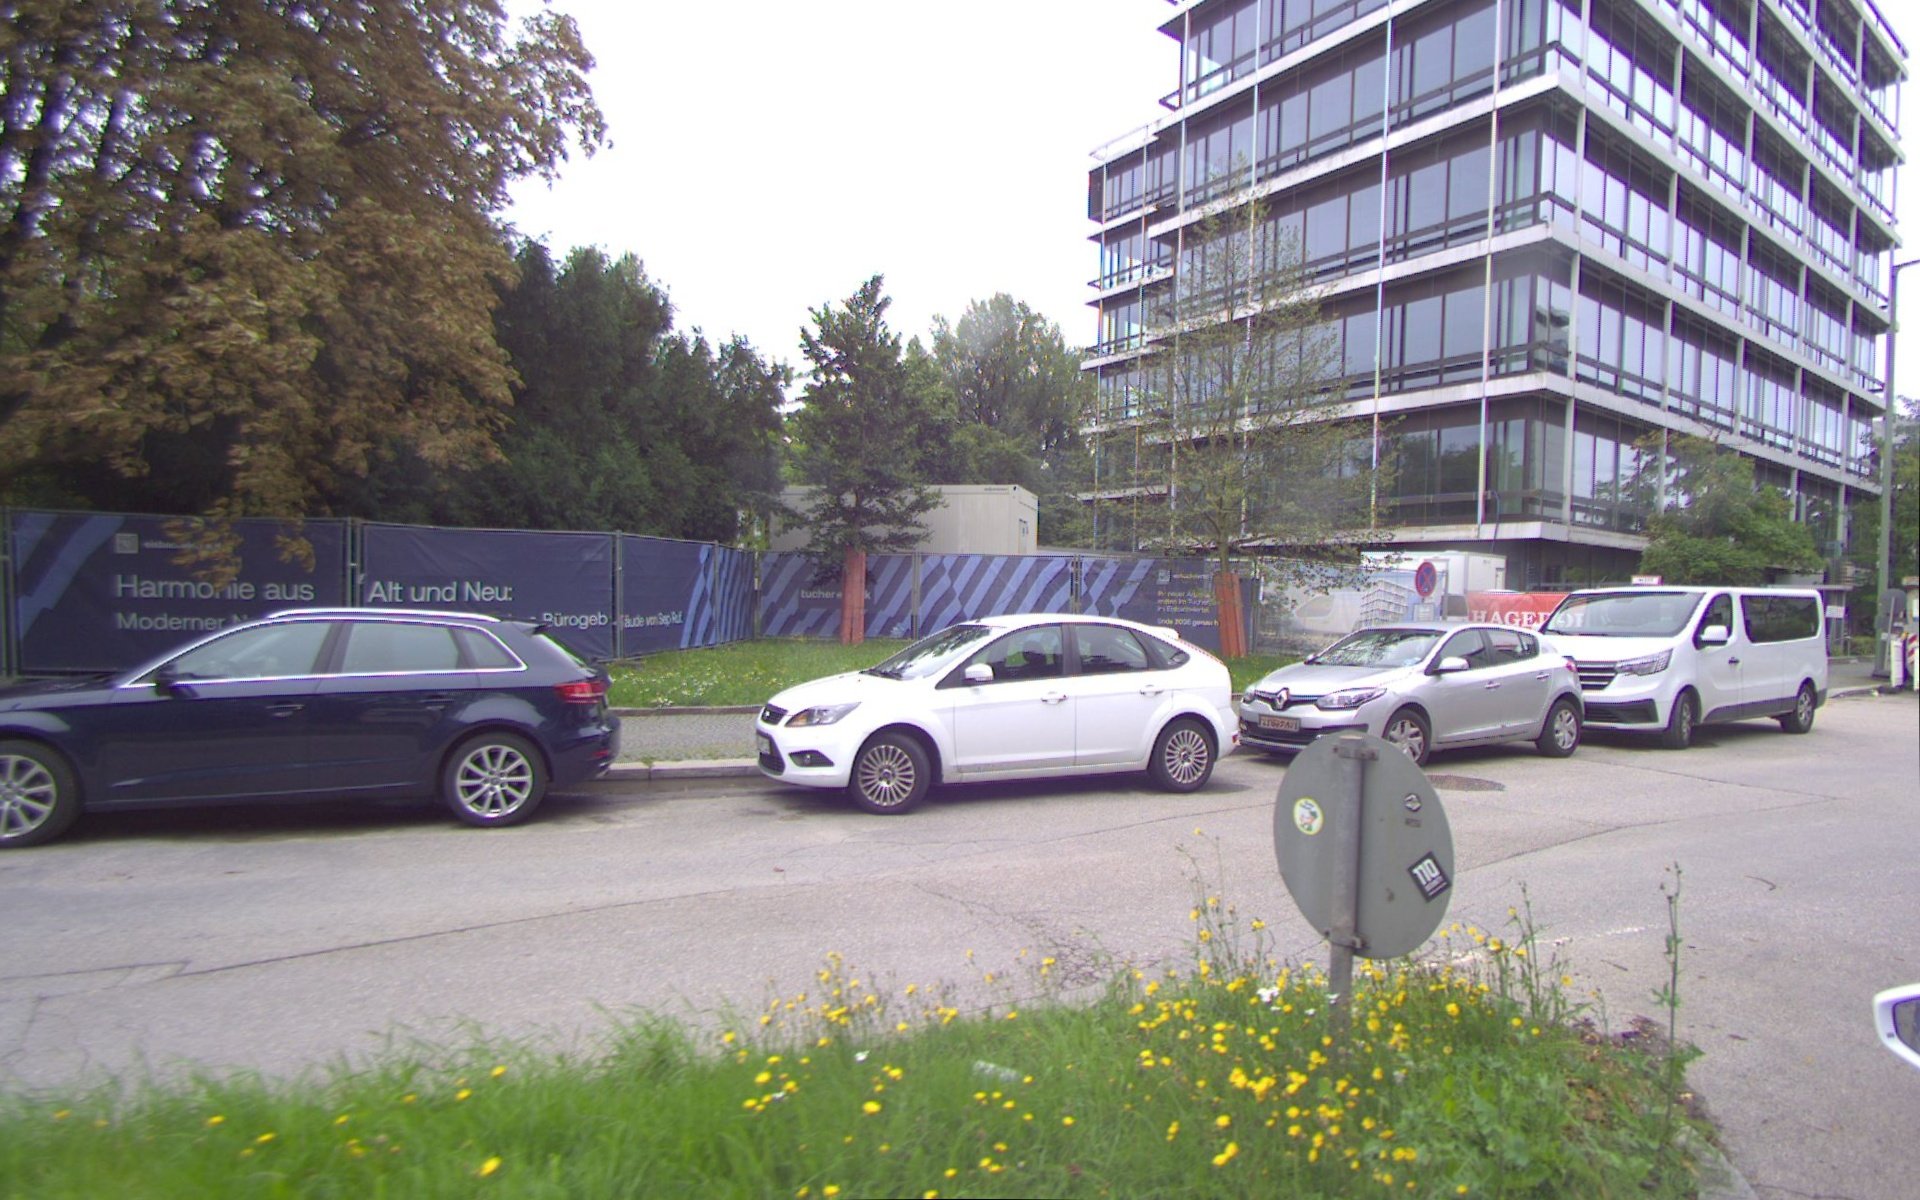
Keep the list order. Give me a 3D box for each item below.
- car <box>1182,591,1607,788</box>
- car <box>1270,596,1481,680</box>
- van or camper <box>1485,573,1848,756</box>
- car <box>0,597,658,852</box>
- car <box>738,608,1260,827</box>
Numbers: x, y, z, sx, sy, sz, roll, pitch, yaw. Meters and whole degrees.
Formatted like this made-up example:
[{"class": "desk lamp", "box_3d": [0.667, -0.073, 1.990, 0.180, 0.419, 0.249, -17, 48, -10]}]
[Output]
[{"class": "car", "box_3d": [4.745, 0.810, 10.870, 4.395, 1.751, 1.985, 0, 0, -29]}, {"class": "car", "box_3d": [10.552, 0.903, 25.858, 1.979, 1.947, 4.731, 1, -1, -34]}, {"class": "van or camper", "box_3d": [9.526, 0.733, 13.416, 5.314, 2.040, 1.983, 0, 0, -31]}, {"class": "car", "box_3d": [-4.407, 0.750, 7.122, 4.261, 1.456, 1.870, 1, -1, -19]}, {"class": "car", "box_3d": [0.343, 0.857, 8.665, 4.161, 1.506, 1.762, 1, 0, -24]}]
